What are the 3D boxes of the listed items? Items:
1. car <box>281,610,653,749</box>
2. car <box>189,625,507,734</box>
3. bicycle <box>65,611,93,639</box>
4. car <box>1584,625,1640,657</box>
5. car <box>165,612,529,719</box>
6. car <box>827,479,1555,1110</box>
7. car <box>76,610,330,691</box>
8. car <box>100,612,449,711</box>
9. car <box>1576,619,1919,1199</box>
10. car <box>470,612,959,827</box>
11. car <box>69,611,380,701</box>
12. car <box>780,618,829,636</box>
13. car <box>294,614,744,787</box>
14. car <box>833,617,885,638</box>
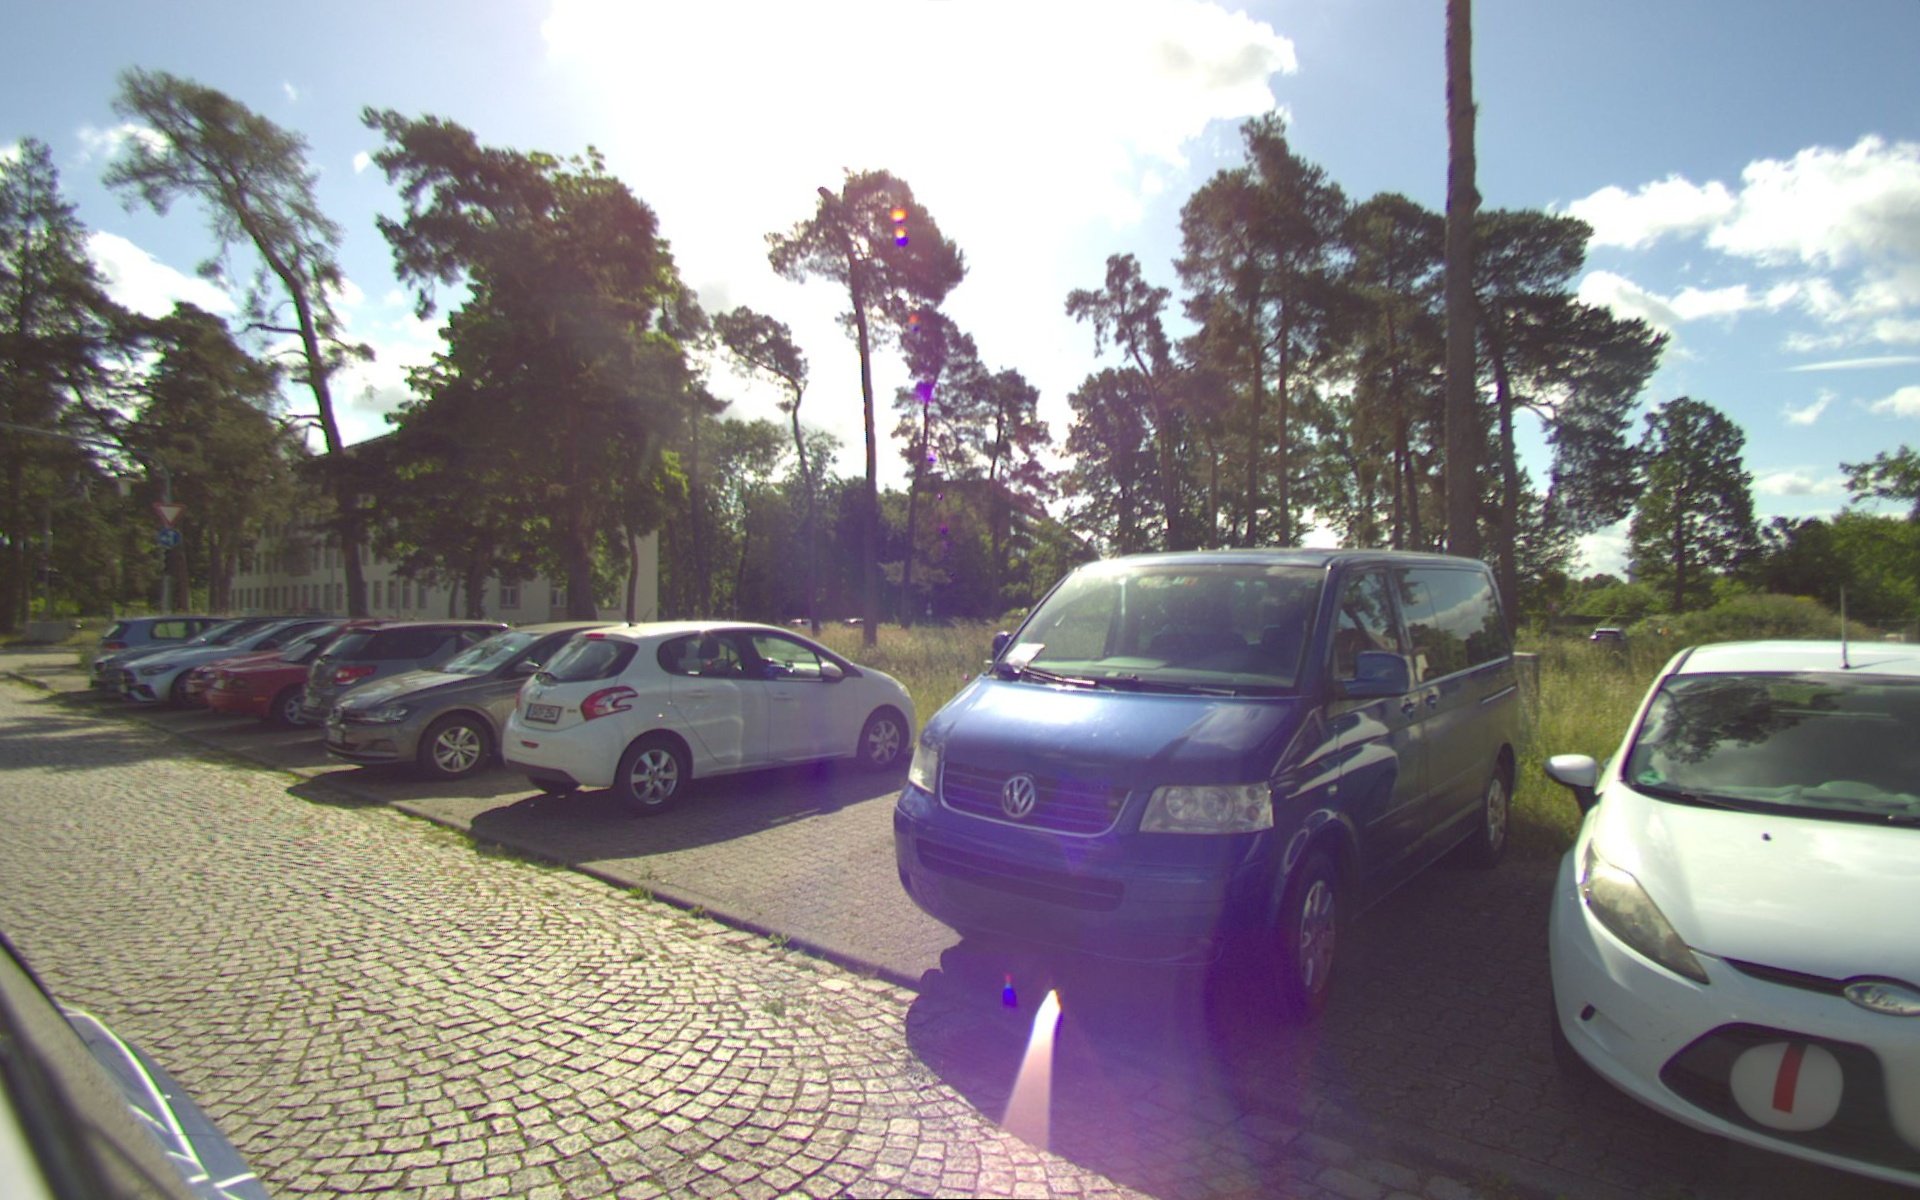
[{"bbox_3d":[-6.312,0.901,13.288,1.821,1.463,4.033,1,1,42],"label":"car"},{"bbox_3d":[-8.710,1.044,14.589,1.759,1.243,3.592,1,1,42],"label":"car"},{"bbox_3d":[-41.348,1.164,47.511,2.113,1.293,0.613,-1,1,40],"label":"bicycle"},{"bbox_3d":[34.615,2.161,53.682,1.912,1.617,4.183,0,-2,42],"label":"car"},{"bbox_3d":[-9.919,0.957,16.729,1.938,1.431,4.814,0,0,41],"label":"car"},{"bbox_3d":[1.684,0.593,5.620,2.004,1.983,4.669,0,0,41],"label":"car"},{"bbox_3d":[-15.956,0.991,21.486,1.947,1.494,3.987,-1,-1,39],"label":"car"},{"bbox_3d":[-11.959,0.966,17.948,1.938,1.431,4.814,1,1,41],"label":"car"},{"bbox_3d":[3.523,0.847,3.776,1.681,1.451,3.779,0,0,38],"label":"car"},{"bbox_3d":[-2.047,0.878,9.406,1.823,1.486,4.153,-1,0,41],"label":"car"},{"bbox_3d":[-14.091,0.977,19.637,1.981,1.463,4.538,0,0,37],"label":"car"},{"bbox_3d":[-13.680,2.386,88.987,1.720,1.593,4.051,0,-2,42],"label":"car"},{"bbox_3d":[-4.559,0.897,10.902,1.922,1.436,4.033,-1,0,42],"label":"car"},{"bbox_3d":[-8.324,2.279,83.572,1.840,1.642,4.002,-1,-2,43],"label":"car"}]
